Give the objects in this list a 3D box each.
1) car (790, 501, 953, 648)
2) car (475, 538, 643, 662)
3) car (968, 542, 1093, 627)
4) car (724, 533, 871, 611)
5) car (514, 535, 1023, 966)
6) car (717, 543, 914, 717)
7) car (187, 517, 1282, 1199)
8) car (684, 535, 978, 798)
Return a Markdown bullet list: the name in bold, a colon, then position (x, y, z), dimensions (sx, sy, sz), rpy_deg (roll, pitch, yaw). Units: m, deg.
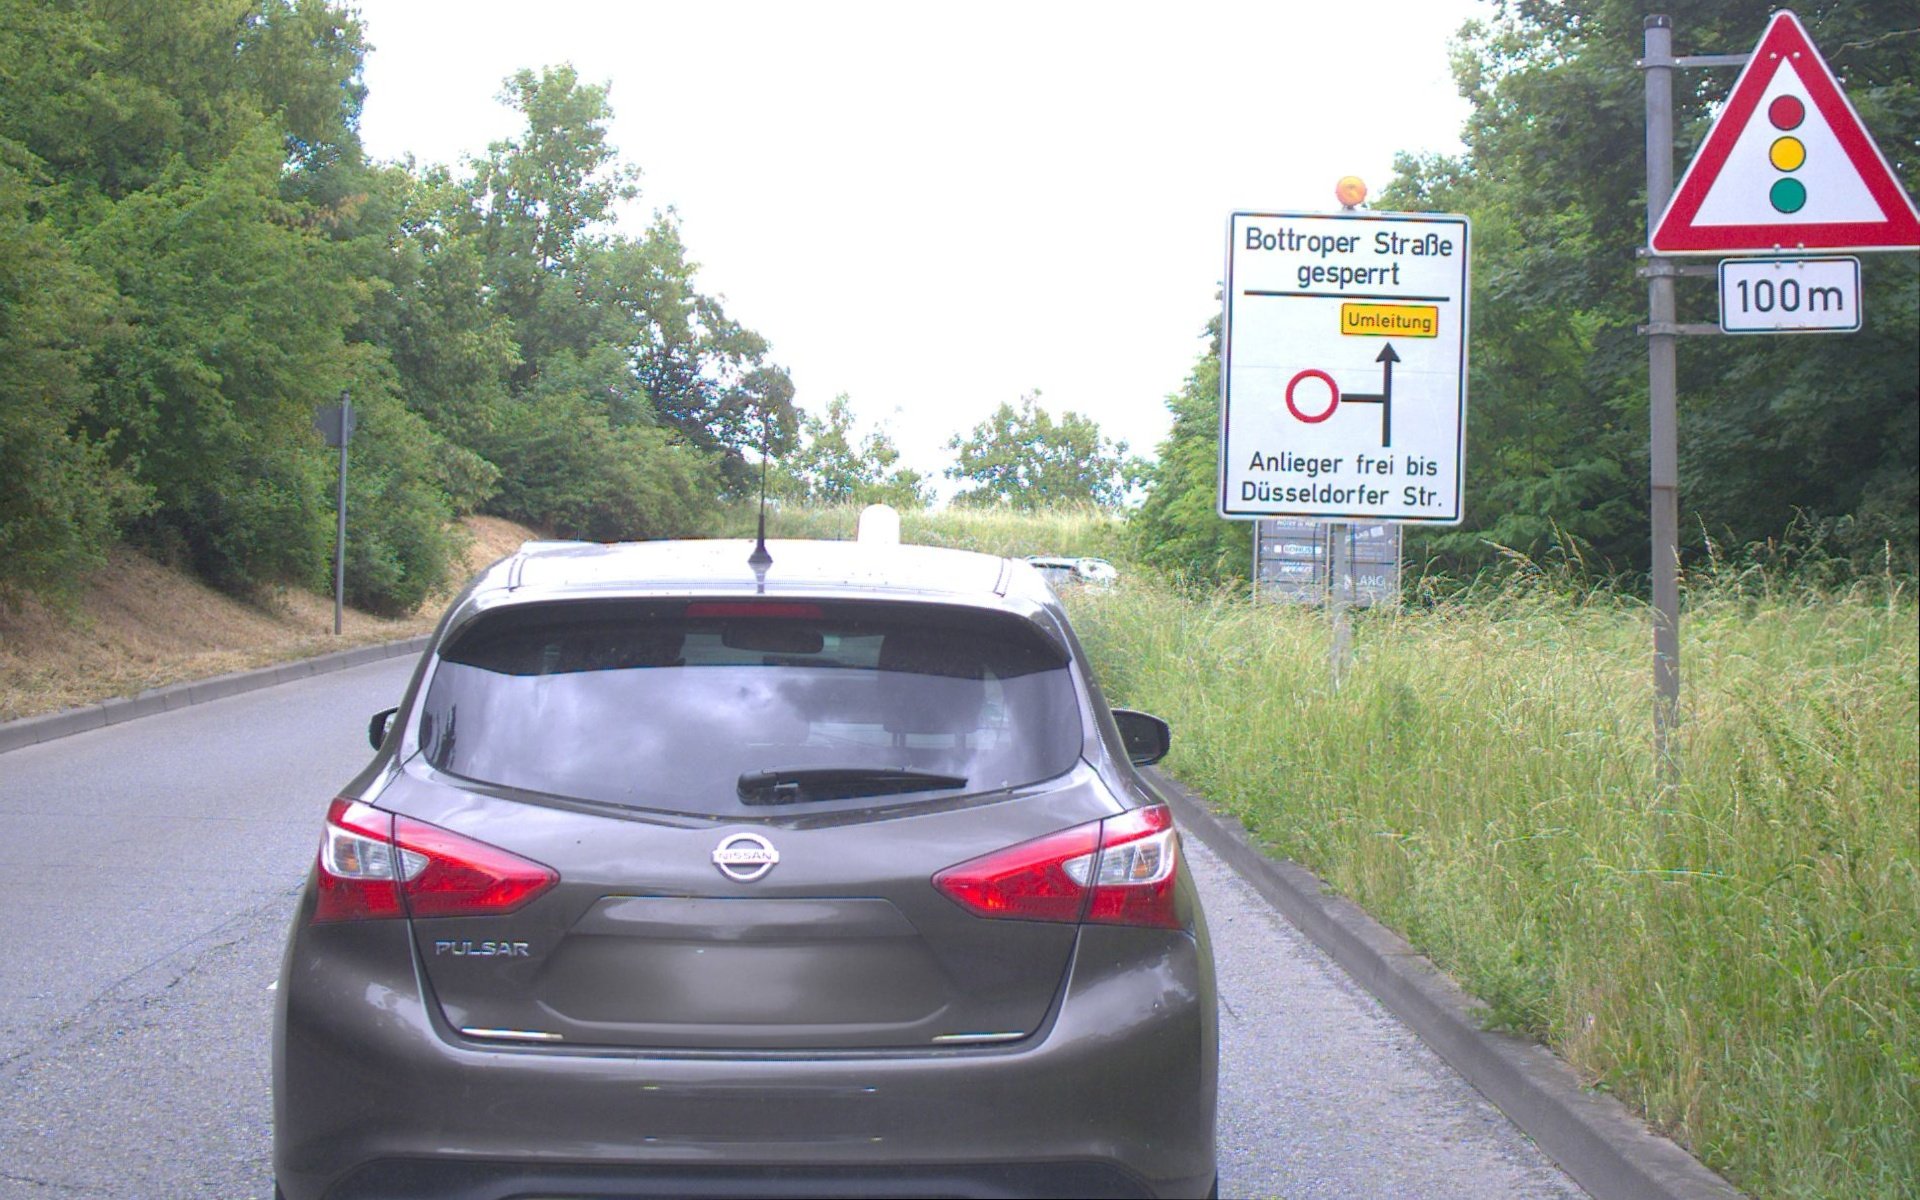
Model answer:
- **car**: position (-1.165, -0.366, 46.822), dimensions (1.736, 1.928, 3.543), rpy_deg (0, 1, 7)
- **car**: position (-4.758, -0.033, 41.225), dimensions (1.642, 1.395, 3.822), rpy_deg (0, 1, -1)
- **car**: position (1.348, -0.307, 64.226), dimensions (1.737, 1.521, 3.542), rpy_deg (0, 1, 11)
- **car**: position (-3.180, -0.541, 68.021), dimensions (1.643, 1.395, 3.818), rpy_deg (4, 1, 17)
- **car**: position (-0.700, 0.511, 14.235), dimensions (1.830, 1.551, 3.625), rpy_deg (0, 1, 0)
- **car**: position (-1.324, 0.242, 32.779), dimensions (1.736, 1.551, 3.543), rpy_deg (0, 1, 0)
- **car**: position (-0.442, 0.610, 7.521), dimensions (1.830, 1.551, 3.500), rpy_deg (0, 1, -2)
- **car**: position (-0.775, 0.364, 22.169), dimensions (1.736, 1.551, 3.543), rpy_deg (0, 1, 0)
